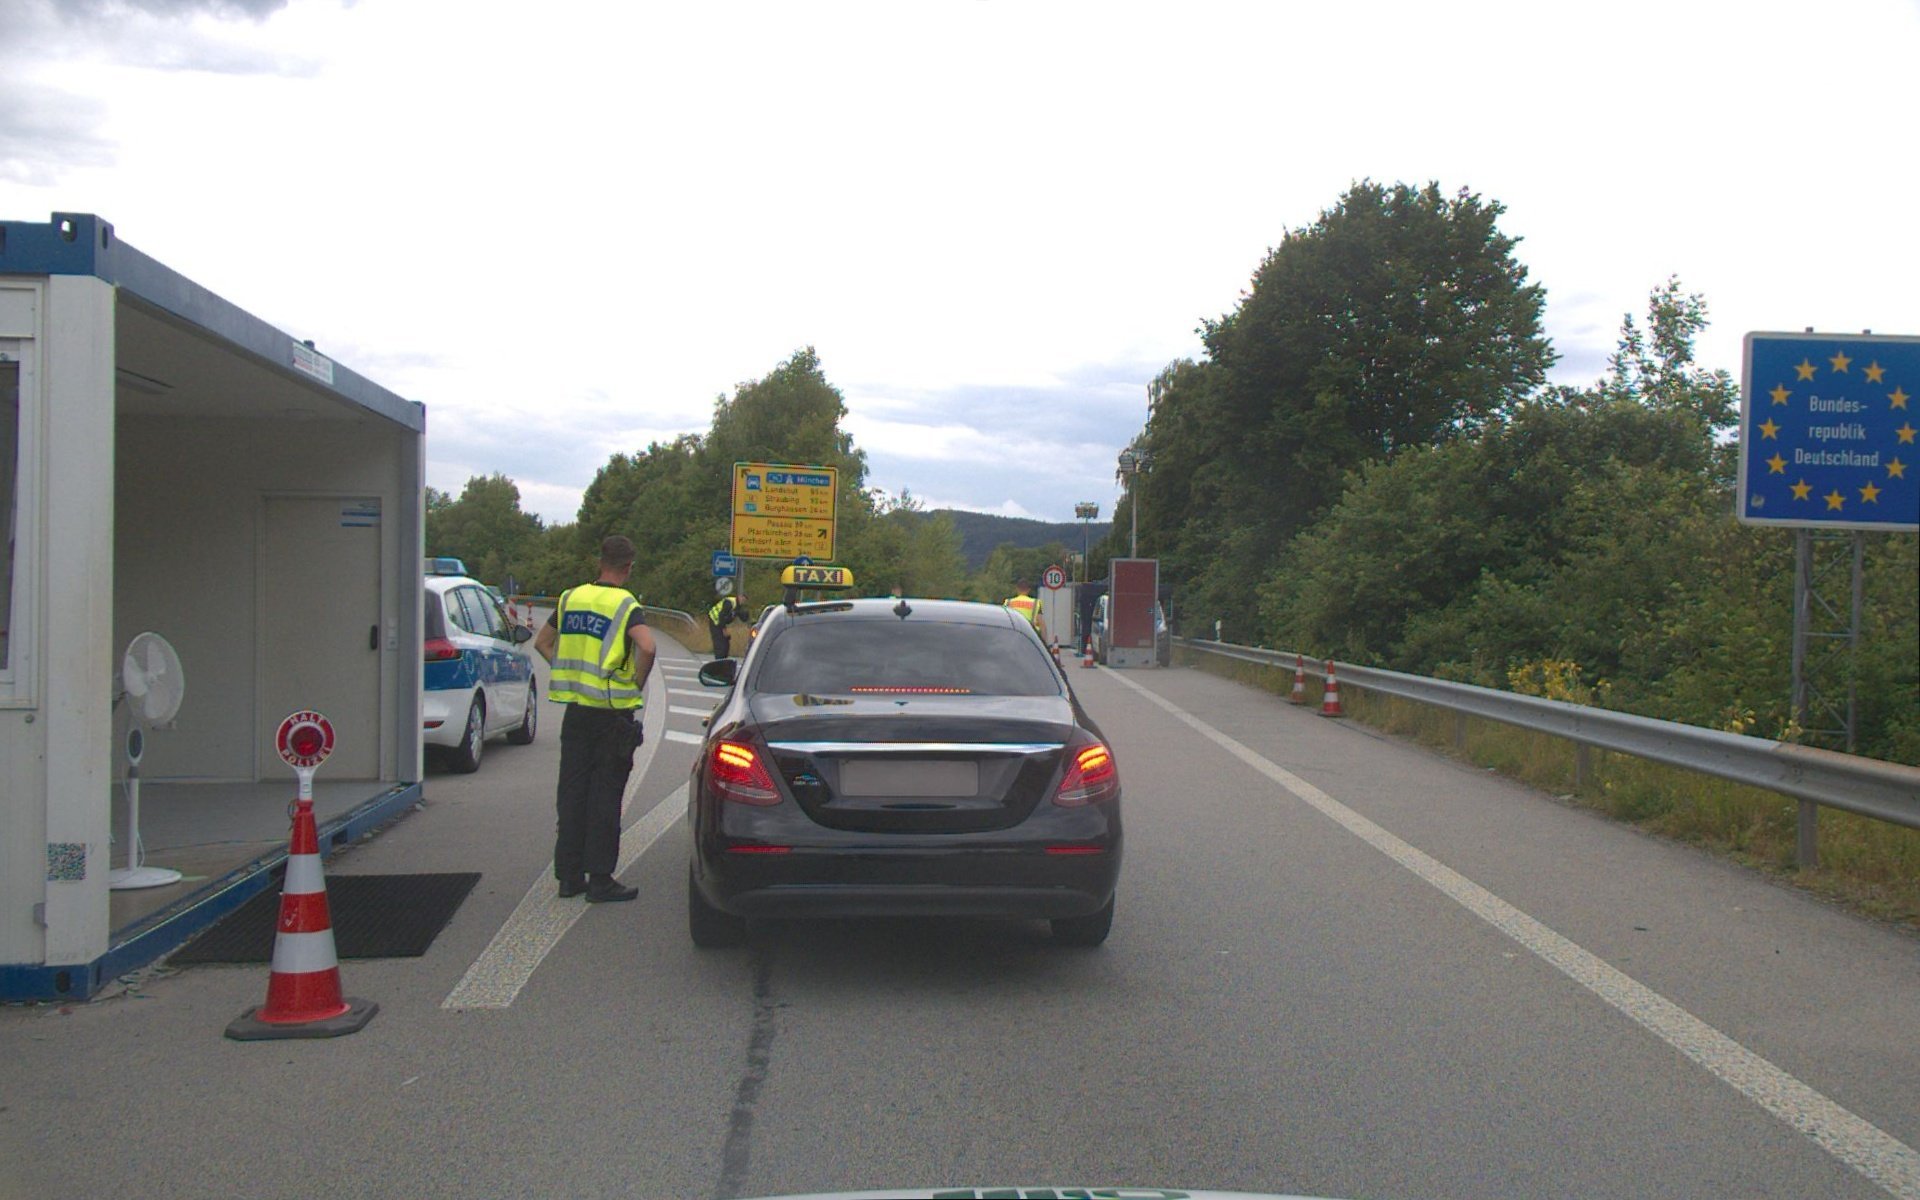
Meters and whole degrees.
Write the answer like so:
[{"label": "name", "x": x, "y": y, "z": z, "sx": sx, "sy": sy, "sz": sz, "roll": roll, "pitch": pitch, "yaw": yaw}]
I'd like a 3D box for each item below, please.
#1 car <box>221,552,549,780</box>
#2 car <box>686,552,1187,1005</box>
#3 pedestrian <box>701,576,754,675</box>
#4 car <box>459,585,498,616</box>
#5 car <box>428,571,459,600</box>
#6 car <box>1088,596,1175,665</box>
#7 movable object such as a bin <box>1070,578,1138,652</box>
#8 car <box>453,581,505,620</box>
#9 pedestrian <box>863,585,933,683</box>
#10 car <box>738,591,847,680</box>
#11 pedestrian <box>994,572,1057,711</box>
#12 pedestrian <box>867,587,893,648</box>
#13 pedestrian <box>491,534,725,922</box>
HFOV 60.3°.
[{"label": "car", "x": -4.997, "y": 0.515, "z": 14.970, "sx": 1.832, "sy": 1.774, "sz": 4.004, "roll": 1, "pitch": 0, "yaw": -5}, {"label": "car", "x": -0.274, "y": 0.642, "z": 8.201, "sx": 1.819, "sy": 1.623, "sz": 4.370, "roll": 1, "pitch": 0, "yaw": -5}, {"label": "pedestrian", "x": -4.304, "y": 0.470, "z": 30.676, "sx": 0.893, "sy": 1.800, "sz": 0.911, "roll": 1, "pitch": 0, "yaw": -4}, {"label": "car", "x": -24.400, "y": 0.011, "z": 83.771, "sx": 1.826, "sy": 1.524, "sz": 4.236, "roll": 1, "pitch": 0, "yaw": -17}, {"label": "car", "x": -40.381, "y": -1.116, "z": 129.238, "sx": 1.831, "sy": 2.261, "sz": 4.224, "roll": 1, "pitch": 0, "yaw": -24}, {"label": "car", "x": 4.683, "y": 0.796, "z": 45.841, "sx": 1.877, "sy": 1.707, "sz": 5.083, "roll": 2, "pitch": 0, "yaw": 1}, {"label": "movable object such as a bin", "x": 4.712, "y": 0.483, "z": 54.685, "sx": 1.952, "sy": 2.320, "sz": 4.168, "roll": 1, "pitch": 0, "yaw": 1}, {"label": "car", "x": -19.956, "y": 0.009, "z": 68.757, "sx": 1.824, "sy": 1.524, "sz": 4.242, "roll": 1, "pitch": 0, "yaw": -14}, {"label": "pedestrian", "x": -1.110, "y": 0.601, "z": 29.580, "sx": 0.900, "sy": 1.727, "sz": 0.903, "roll": 1, "pitch": -1, "yaw": -32}, {"label": "car", "x": -3.037, "y": 0.604, "z": 30.711, "sx": 1.818, "sy": 1.524, "sz": 4.253, "roll": 1, "pitch": 0, "yaw": -4}, {"label": "pedestrian", "x": 0.898, "y": 0.552, "z": 22.551, "sx": 0.795, "sy": 1.862, "sz": 0.810, "roll": 0, "pitch": 0, "yaw": 7}, {"label": "pedestrian", "x": -2.619, "y": 0.562, "z": 54.075, "sx": 0.650, "sy": 1.995, "sz": 0.760, "roll": 0, "pitch": 0, "yaw": 15}, {"label": "pedestrian", "x": -1.695, "y": 0.575, "z": 8.002, "sx": 0.747, "sy": 1.748, "sz": 0.815, "roll": 0, "pitch": 0, "yaw": 36}]
